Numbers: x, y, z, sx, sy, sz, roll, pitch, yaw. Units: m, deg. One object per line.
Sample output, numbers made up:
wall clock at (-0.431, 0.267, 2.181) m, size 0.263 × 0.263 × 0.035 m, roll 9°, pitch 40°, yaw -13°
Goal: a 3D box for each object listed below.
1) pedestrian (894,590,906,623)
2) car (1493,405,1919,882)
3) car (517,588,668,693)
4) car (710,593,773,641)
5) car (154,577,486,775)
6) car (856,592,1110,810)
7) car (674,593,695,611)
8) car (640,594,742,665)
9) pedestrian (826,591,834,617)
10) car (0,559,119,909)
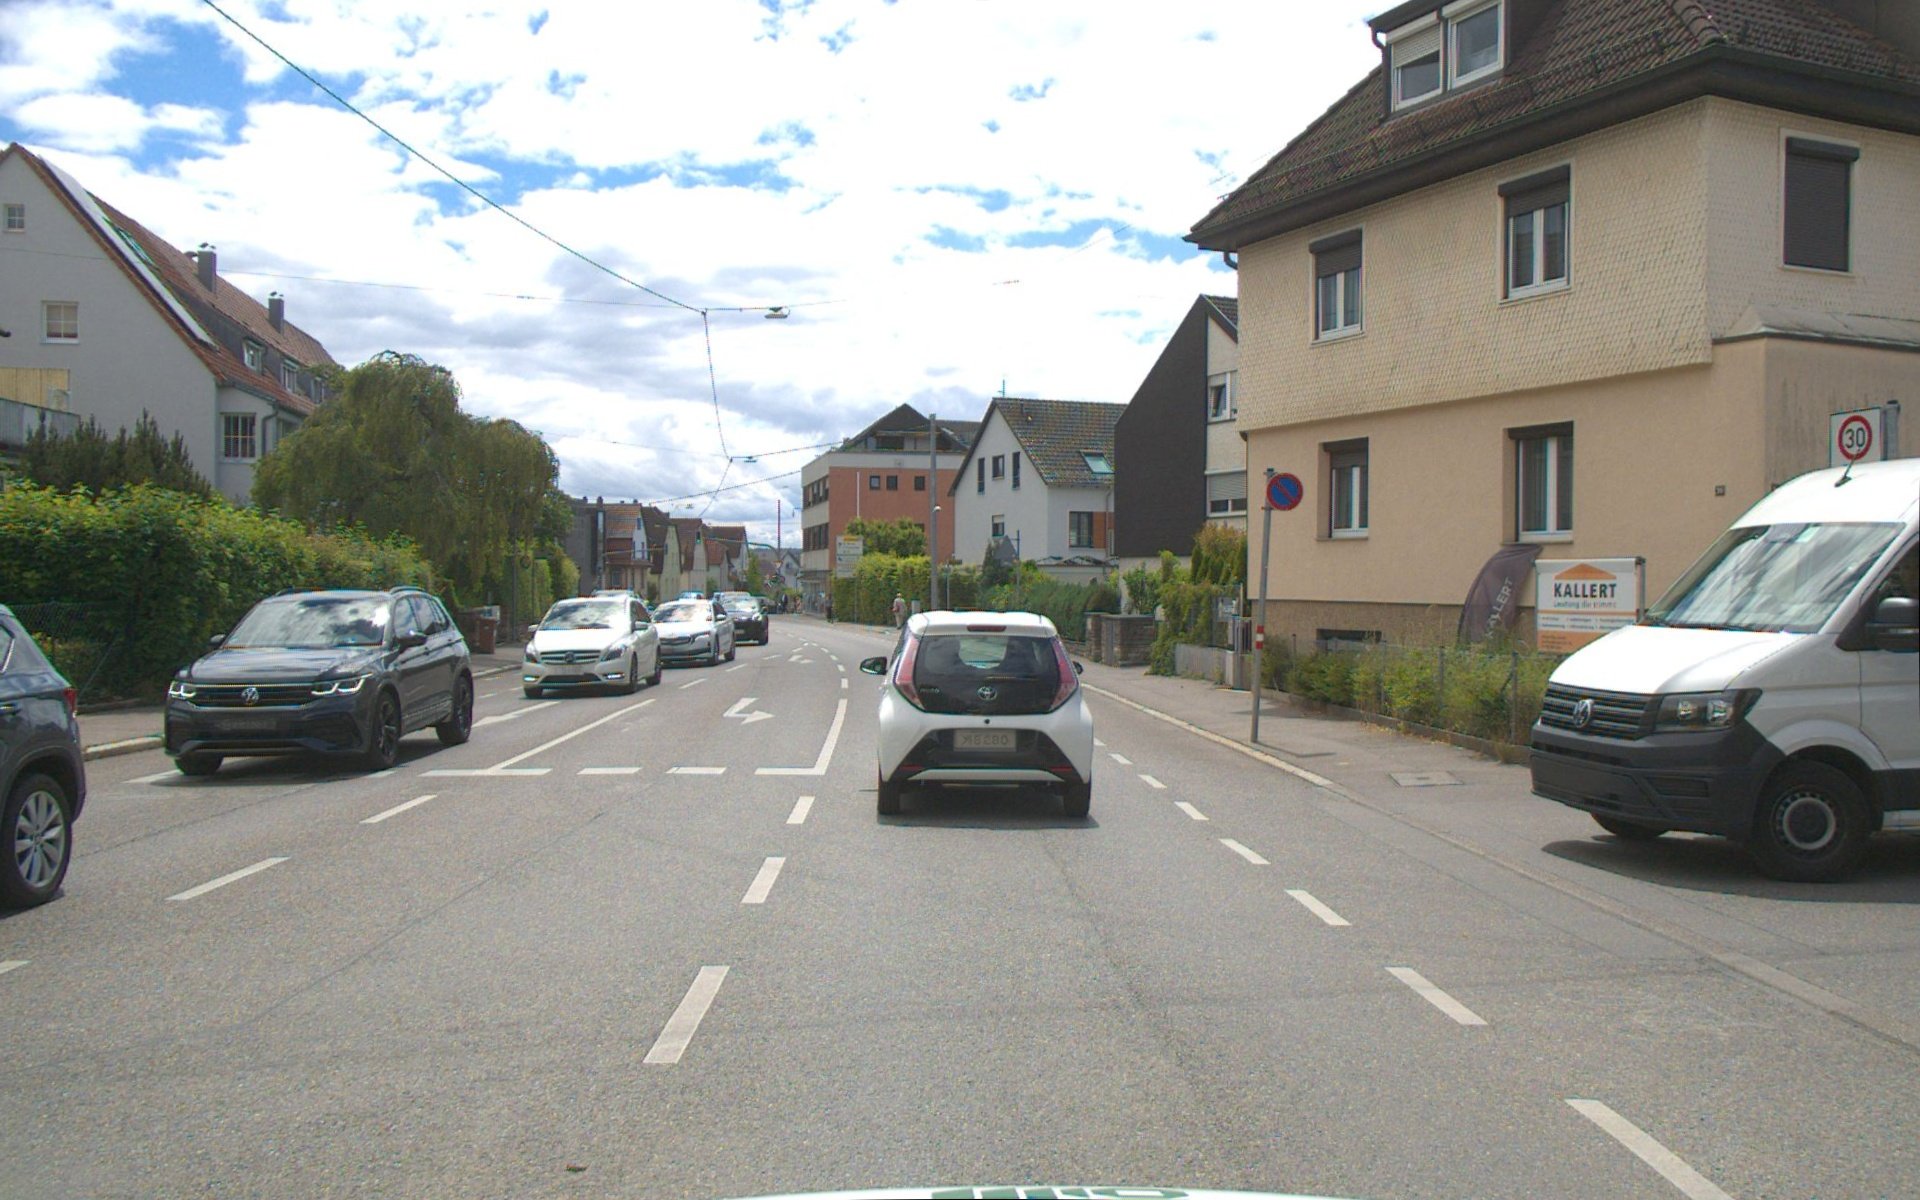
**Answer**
pedestrian at (-2.690, 0.277, 73.959) m, size 0.406 × 1.463 × 0.436 m, roll 1°, pitch 0°, yaw -14°
car at (6.657, 0.240, 10.749) m, size 5.891 × 2.626 × 1.994 m, roll 0°, pitch 1°, yaw -13°
car at (-6.050, 0.625, 27.680) m, size 1.739 × 1.589 × 4.167 m, roll -1°, pitch 0°, yaw -3°
car at (-6.924, 0.520, 52.733) m, size 1.740 × 1.455 × 4.005 m, roll 0°, pitch 0°, yaw -4°
car at (-6.005, 0.632, 16.066) m, size 1.739 × 1.631 × 4.167 m, roll -1°, pitch 0°, yaw -3°
car at (0.048, 0.707, 13.591) m, size 1.590 × 1.512 × 3.995 m, roll 1°, pitch 0°, yaw -6°
car at (-26.952, 0.168, 161.925) m, size 1.957 × 1.713 × 3.992 m, roll 2°, pitch 0°, yaw -9°
car at (-6.165, 0.637, 38.297) m, size 1.739 × 1.455 × 4.520 m, roll -2°, pitch 0°, yaw -2°
pedestrian at (-7.386, 0.241, 93.987) m, size 0.405 × 1.463 × 0.437 m, roll 1°, pitch 0°, yaw -10°
car at (-5.301, 0.624, 6.831) m, size 1.739 × 1.631 × 4.036 m, roll 0°, pitch 0°, yaw -3°
